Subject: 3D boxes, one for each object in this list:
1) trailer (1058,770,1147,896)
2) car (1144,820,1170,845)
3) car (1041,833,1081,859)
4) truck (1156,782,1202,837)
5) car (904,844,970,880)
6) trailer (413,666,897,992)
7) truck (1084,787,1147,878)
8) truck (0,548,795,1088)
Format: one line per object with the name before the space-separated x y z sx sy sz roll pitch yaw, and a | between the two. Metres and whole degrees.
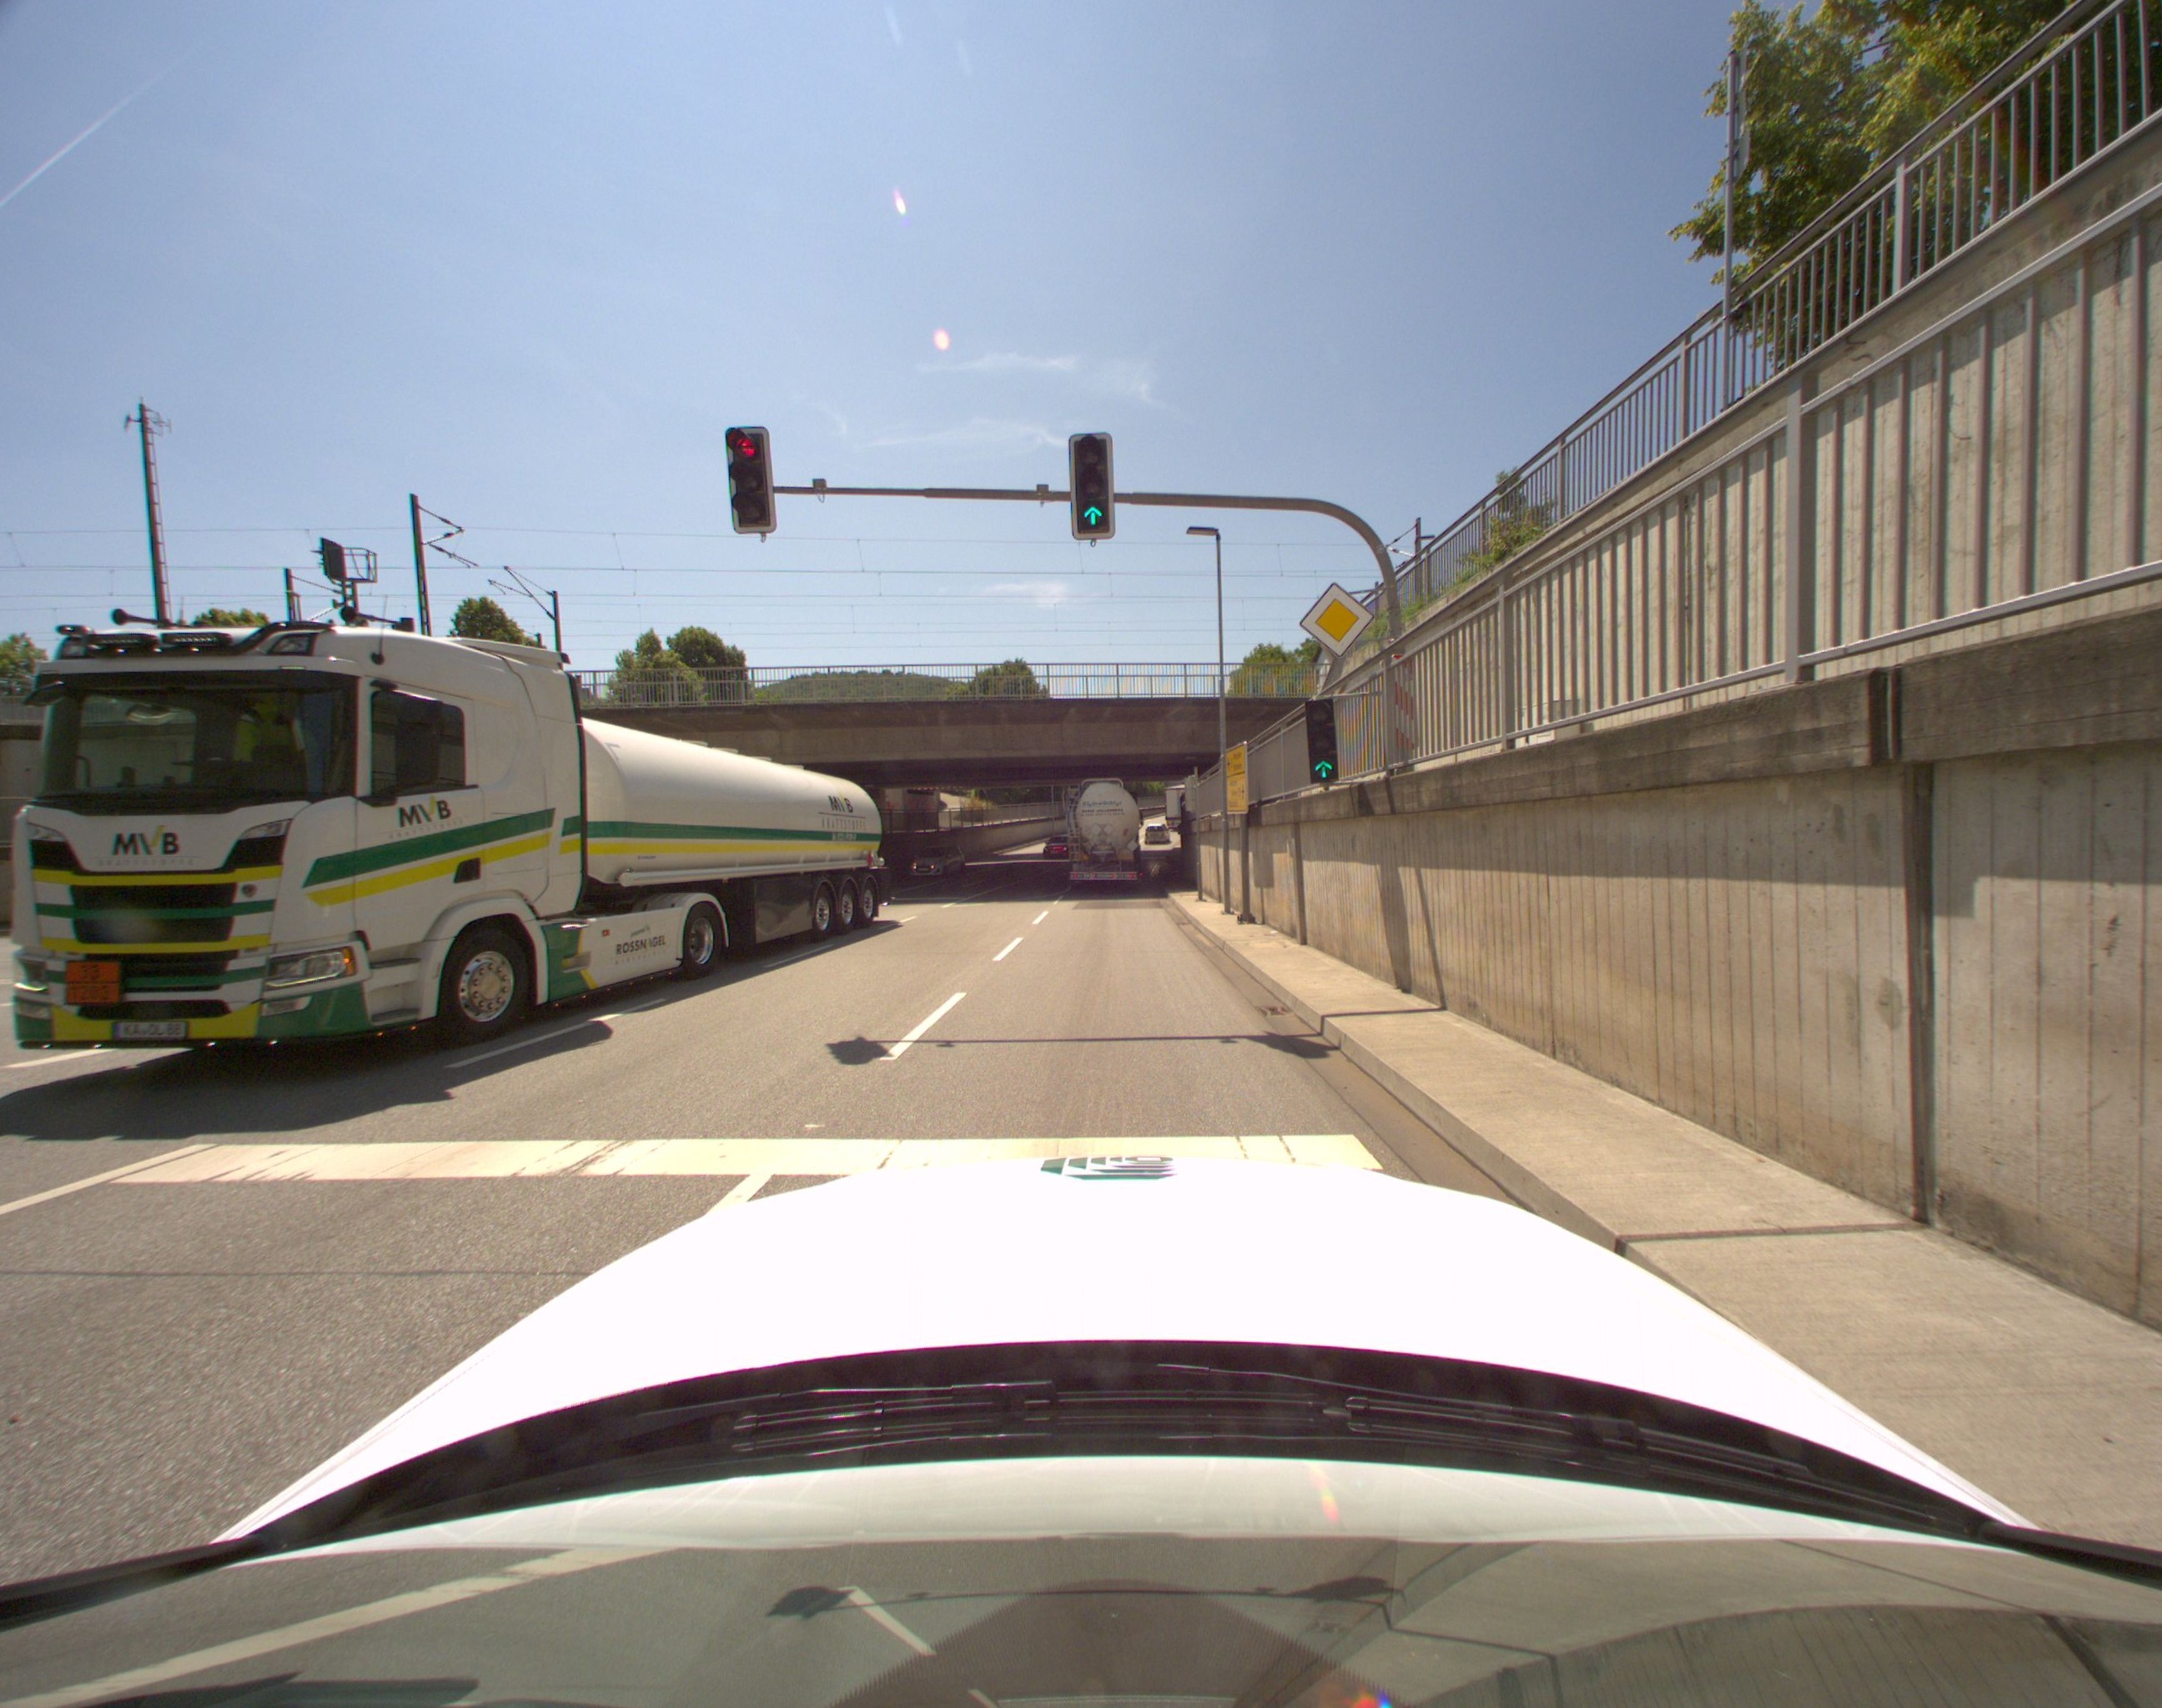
trailer | 1.236 -0.868 33.386 2.722 4.063 13.333 -2 1 5
car | 5.960 -1.723 63.760 1.872 1.638 4.011 -1 5 7
car | -1.220 -0.513 51.677 1.732 1.464 3.838 0 3 11
truck | 9.757 -4.438 79.679 3.058 4.998 10.127 0 4 15
car | -6.927 0.340 39.602 1.768 1.466 3.846 -3 2 11
trailer | -5.961 -0.299 14.168 2.678 3.663 9.898 -1 0 3
truck | 1.852 -1.072 40.410 2.722 4.063 6.539 -2 1 5
truck | -6.193 -0.245 9.289 2.677 3.663 7.379 -1 0 5
